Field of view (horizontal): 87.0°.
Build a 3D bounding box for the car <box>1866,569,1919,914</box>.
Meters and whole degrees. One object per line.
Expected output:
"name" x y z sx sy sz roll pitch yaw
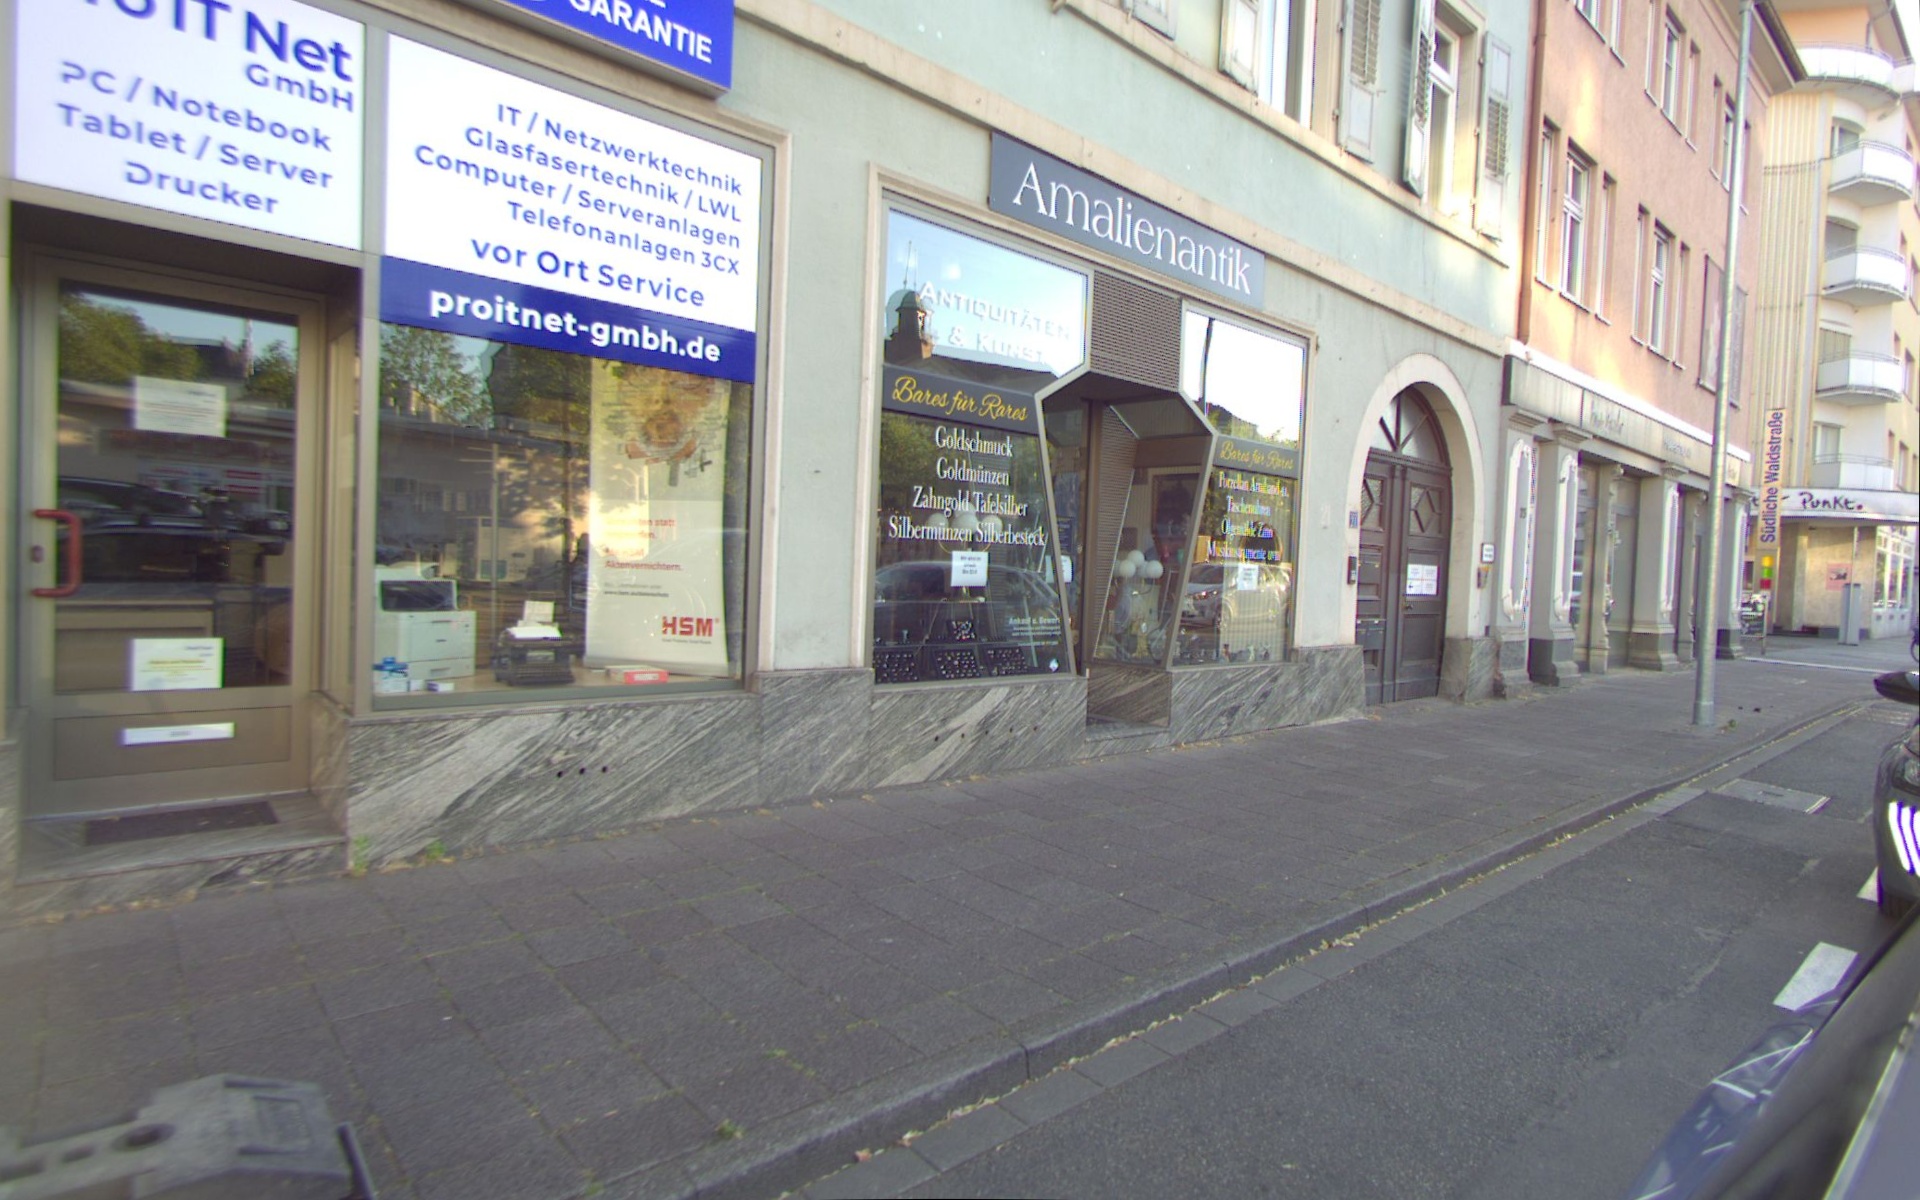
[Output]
"car" 6.016 0.641 4.922 3.835 1.460 1.751 0 2 -39
